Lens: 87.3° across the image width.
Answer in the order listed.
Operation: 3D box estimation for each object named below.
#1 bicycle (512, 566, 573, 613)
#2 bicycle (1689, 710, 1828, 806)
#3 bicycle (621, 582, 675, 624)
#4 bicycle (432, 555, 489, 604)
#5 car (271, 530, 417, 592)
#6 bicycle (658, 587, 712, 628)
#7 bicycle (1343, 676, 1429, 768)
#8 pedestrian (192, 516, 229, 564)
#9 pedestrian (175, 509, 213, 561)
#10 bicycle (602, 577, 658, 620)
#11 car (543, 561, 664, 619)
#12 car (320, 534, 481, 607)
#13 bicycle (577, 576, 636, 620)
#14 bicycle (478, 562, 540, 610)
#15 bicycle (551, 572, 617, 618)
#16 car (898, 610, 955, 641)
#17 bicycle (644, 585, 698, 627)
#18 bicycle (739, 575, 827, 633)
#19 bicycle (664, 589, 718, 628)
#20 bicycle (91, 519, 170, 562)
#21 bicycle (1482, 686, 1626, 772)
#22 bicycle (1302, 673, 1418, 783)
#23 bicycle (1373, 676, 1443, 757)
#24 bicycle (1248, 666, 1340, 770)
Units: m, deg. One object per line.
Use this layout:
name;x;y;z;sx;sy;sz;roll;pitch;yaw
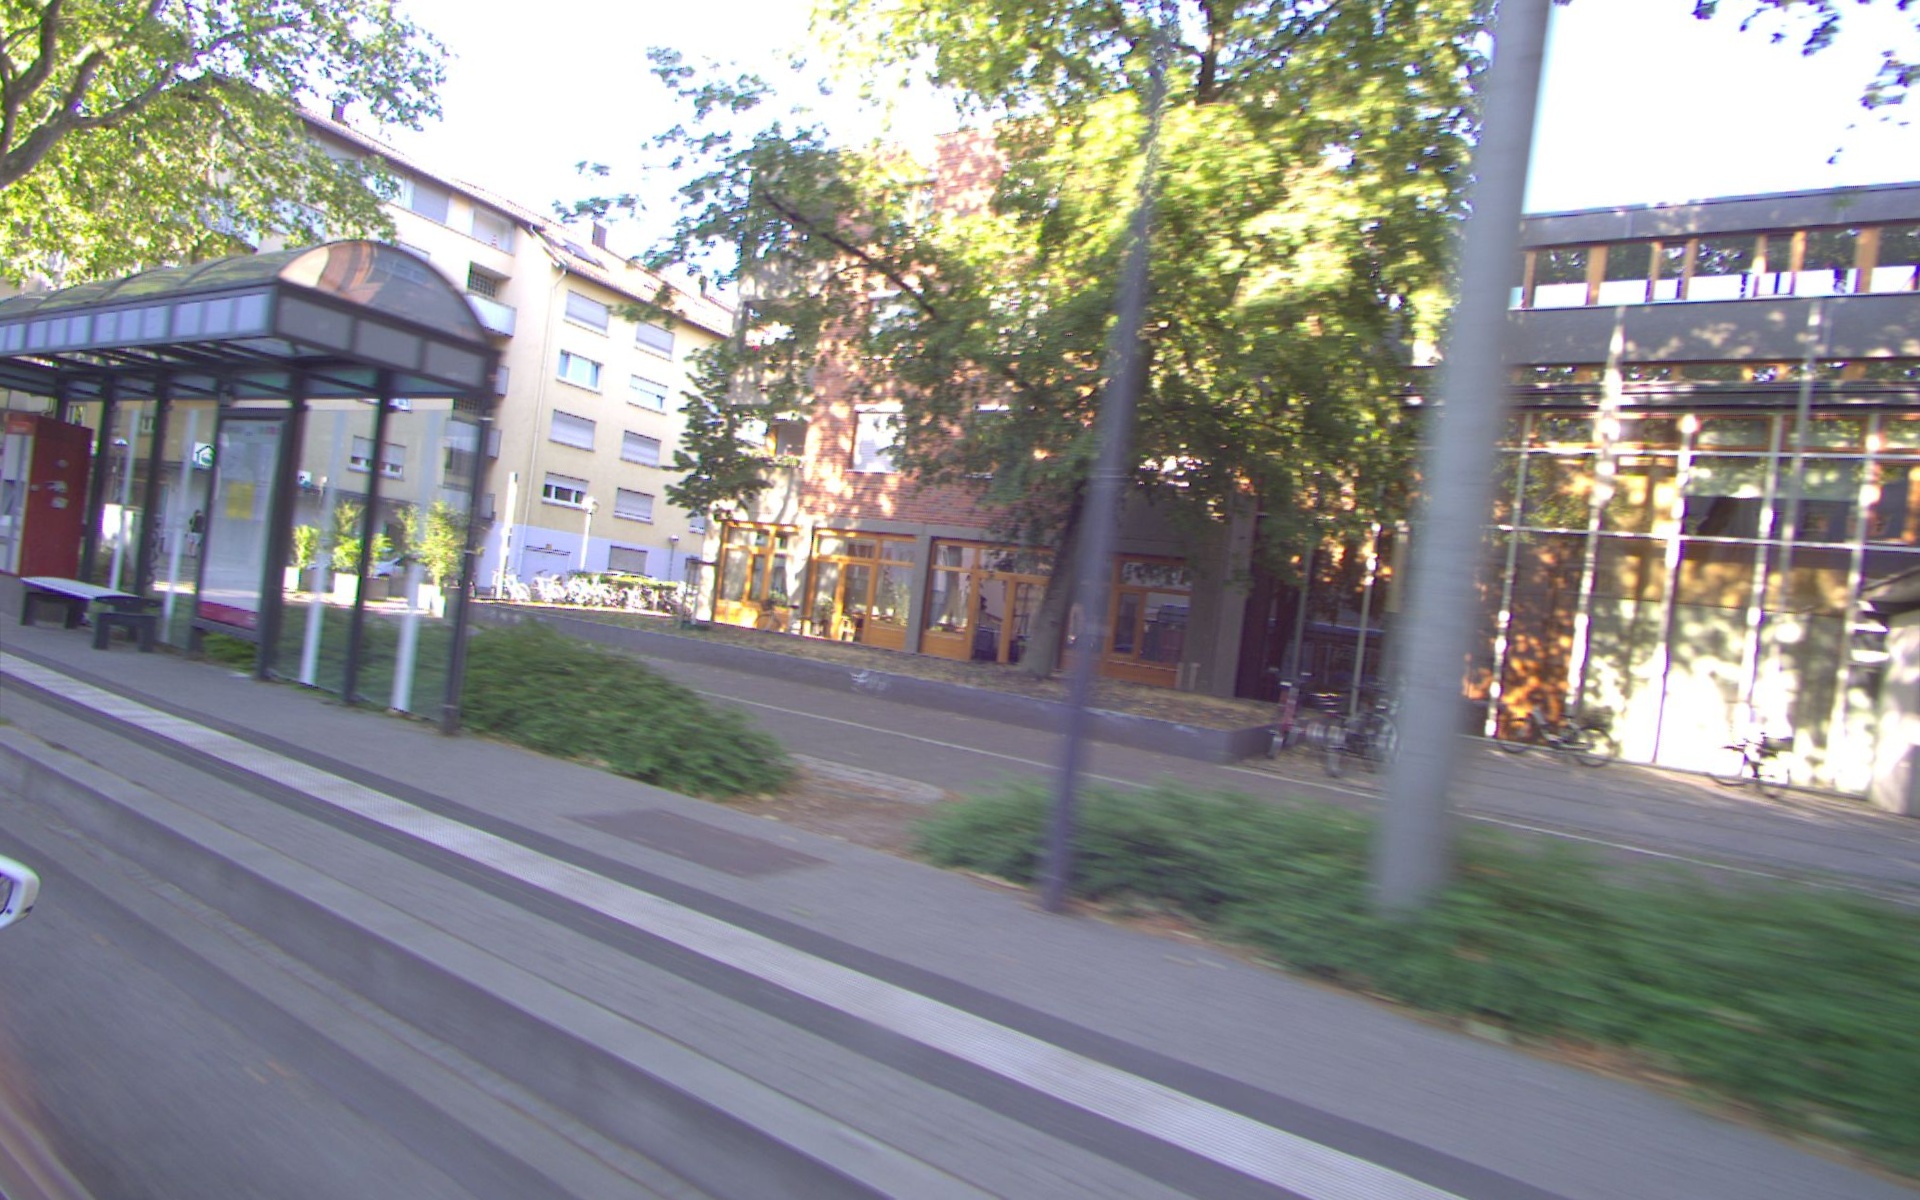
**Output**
bicycle;-12.291;-0.305;29.596;1.950;1.171;0.636;7;2;34
bicycle;12.788;2.502;16.203;0.719;1.171;1.950;6;1;6
bicycle;-10.153;0.100;32.749;1.669;1.172;0.661;7;2;31
bicycle;-13.817;-0.570;27.791;1.671;1.172;0.600;7;2;35
car;-21.556;-1.335;35.343;1.835;1.571;3.867;10;1;31
bicycle;-9.235;0.255;33.738;1.666;1.172;0.521;6;2;21
bicycle;6.156;1.712;14.482;0.563;1.171;2.030;7;1;37
pedestrian;-26.195;-2.092;35.169;0.692;1.558;0.688;7;0;-17
pedestrian;-27.149;-2.286;35.663;0.649;1.703;0.703;7;1;4
bicycle;-10.550;-0.044;32.148;1.669;1.172;0.661;7;2;31
car;-13.411;-0.350;38.042;1.835;1.713;3.867;7;-1;31
car;-17.287;-0.877;31.256;1.835;1.713;3.867;7;-1;31
bicycle;-11.061;-0.069;31.460;1.820;1.171;0.661;7;2;31
bicycle;-12.733;-0.407;28.408;1.668;1.172;0.601;7;2;27
bicycle;-11.437;-0.150;30.581;2.017;1.171;0.731;7;2;32
car;-2.223;1.736;67.751;1.835;1.571;3.867;10;1;31
bicycle;-9.536;0.194;33.162;1.668;1.172;0.563;7;2;27
bicycle;-4.066;0.109;23.245;1.921;1.171;0.565;5;1;-43
bicycle;-9.208;0.289;34.442;1.666;1.172;0.564;6;2;21
bicycle;-25.981;-1.846;31.554;0.731;1.171;1.797;6;1;10
bicycle;10.509;2.249;17.847;2.009;1.171;0.704;7;2;41
bicycle;4.914;1.529;12.286;0.564;1.171;2.027;7;1;41
bicycle;7.209;1.833;16.138;0.563;1.171;1.676;7;1;37
bicycle;4.354;1.473;13.023;0.563;1.171;2.032;7;1;32
